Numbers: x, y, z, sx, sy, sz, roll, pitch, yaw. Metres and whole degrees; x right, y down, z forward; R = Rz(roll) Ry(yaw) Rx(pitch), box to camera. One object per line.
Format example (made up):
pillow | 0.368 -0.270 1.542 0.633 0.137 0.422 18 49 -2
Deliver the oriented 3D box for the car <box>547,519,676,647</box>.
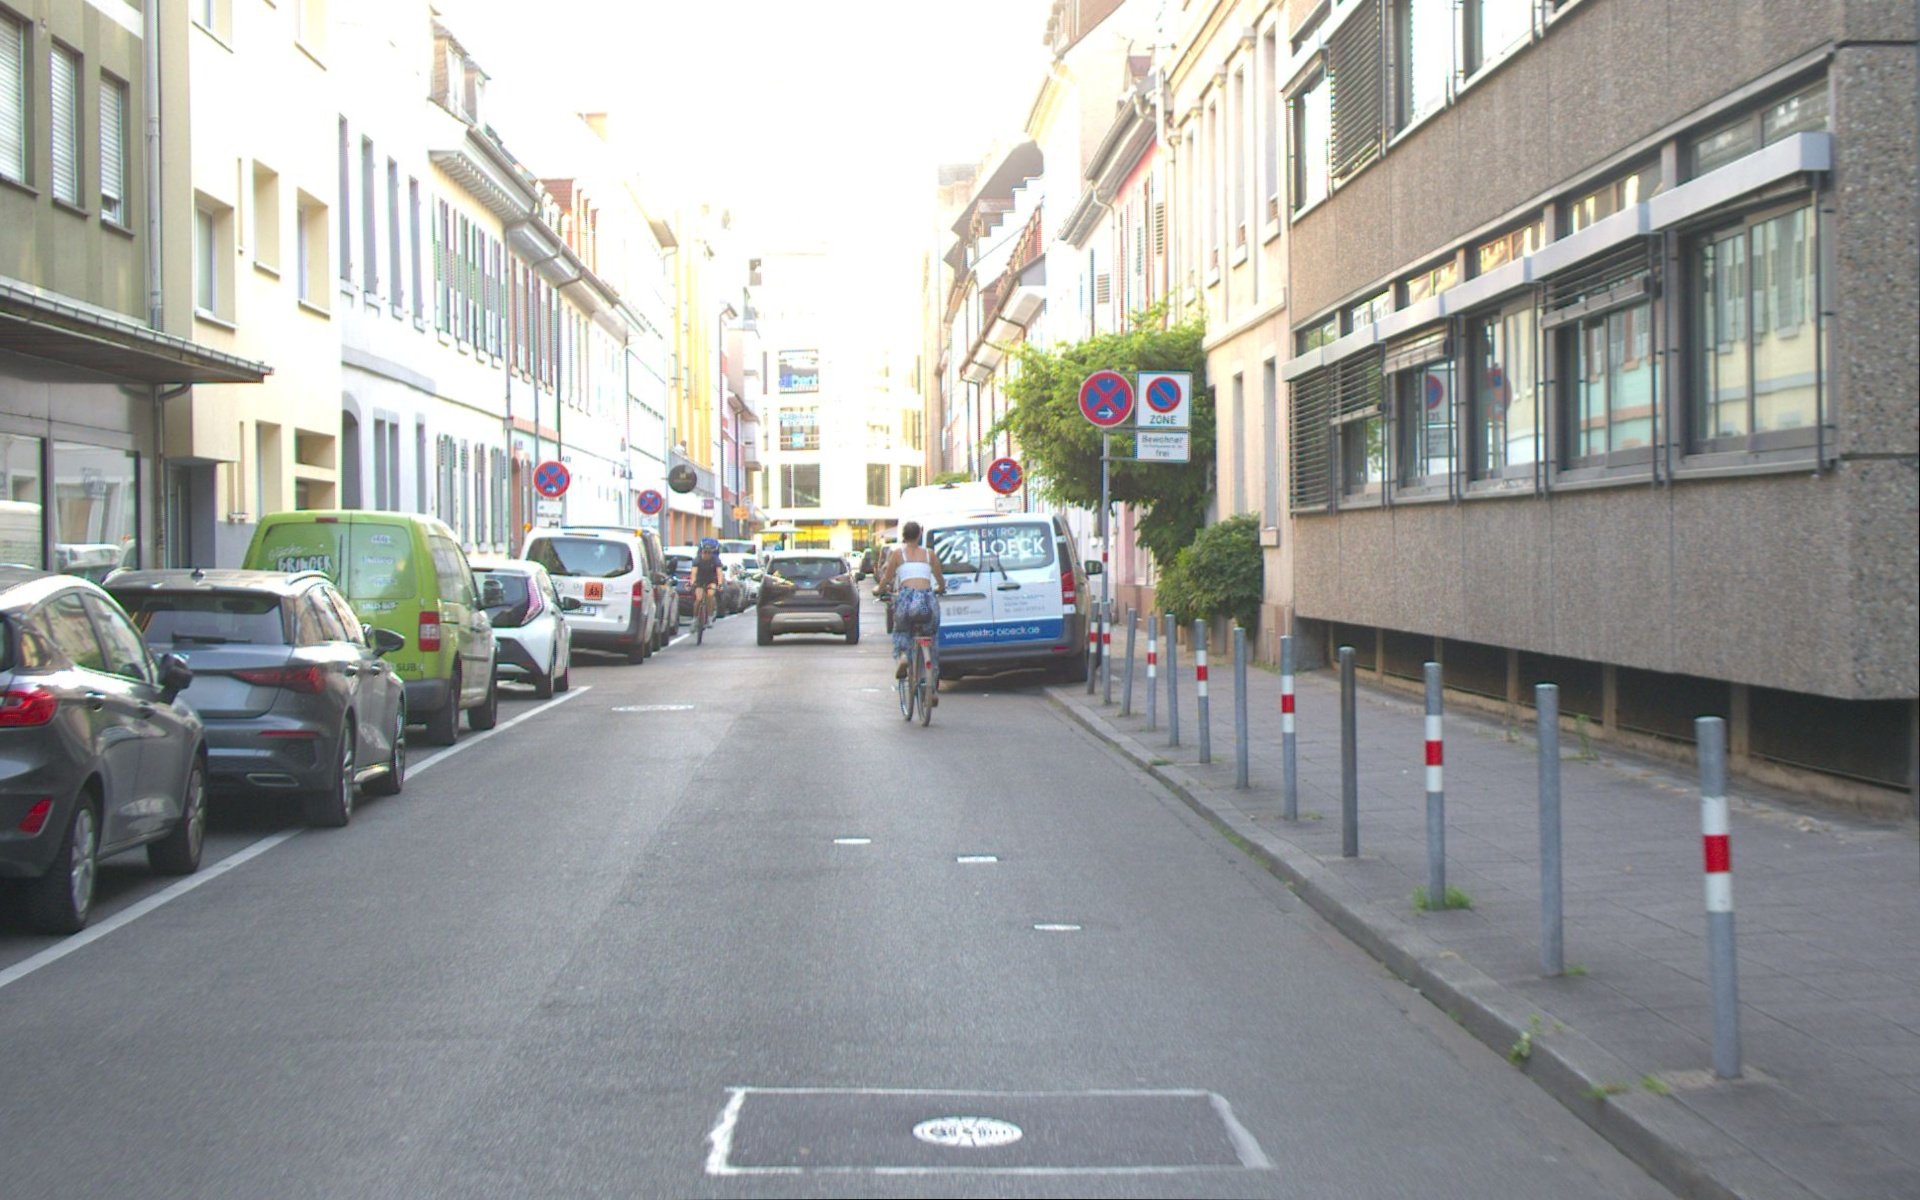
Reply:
car | -5.720 -0.316 56.907 1.862 2.007 4.814 -1 1 -3

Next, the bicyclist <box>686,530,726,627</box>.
bicyclist | -4.349 -0.372 58.860 0.623 1.634 1.081 0 1 -1

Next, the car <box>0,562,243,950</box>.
car | -4.327 0.584 15.084 1.624 1.479 3.878 -1 1 -1

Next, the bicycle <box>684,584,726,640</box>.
bicycle | -4.368 0.197 58.925 0.634 0.919 1.779 0 1 -1

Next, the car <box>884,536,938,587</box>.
car | -1.576 -1.232 108.806 1.653 1.555 3.606 1 1 -1

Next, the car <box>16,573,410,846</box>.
car | -4.242 0.560 20.058 1.624 1.411 3.981 0 1 -3

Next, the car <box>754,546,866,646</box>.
car | -2.539 -0.098 58.565 1.819 1.612 4.000 1 1 -2

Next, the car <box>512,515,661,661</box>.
car | -5.411 -0.209 50.315 1.862 2.007 5.107 -1 1 -3

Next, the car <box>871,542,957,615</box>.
car | -1.027 -0.510 79.051 1.819 1.525 5.071 -4 1 0

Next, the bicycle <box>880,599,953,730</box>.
bicycle | -0.373 0.542 29.710 0.613 1.078 1.809 0 1 -1

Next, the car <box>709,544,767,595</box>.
car | -6.985 -0.963 108.530 1.653 1.555 3.606 1 1 -1

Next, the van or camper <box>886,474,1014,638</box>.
van or camper | -0.197 -0.774 59.129 2.050 2.628 7.063 -1 1 -1

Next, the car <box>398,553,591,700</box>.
car | -5.003 0.253 37.324 1.662 1.444 3.521 3 1 -2

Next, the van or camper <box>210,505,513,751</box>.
van or camper | -4.795 0.177 28.097 1.772 1.842 4.178 -1 1 -1

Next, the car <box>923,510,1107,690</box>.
car | 0.685 -0.042 39.153 1.936 1.891 5.276 -1 1 2

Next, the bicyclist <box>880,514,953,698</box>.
bicyclist | -0.372 0.048 29.732 0.621 1.569 0.683 0 1 0

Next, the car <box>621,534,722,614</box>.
car | -6.198 -0.579 74.264 1.803 1.671 4.490 0 1 0

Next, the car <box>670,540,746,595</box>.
car | -6.713 -0.883 91.954 1.918 1.429 4.294 1 1 -3
